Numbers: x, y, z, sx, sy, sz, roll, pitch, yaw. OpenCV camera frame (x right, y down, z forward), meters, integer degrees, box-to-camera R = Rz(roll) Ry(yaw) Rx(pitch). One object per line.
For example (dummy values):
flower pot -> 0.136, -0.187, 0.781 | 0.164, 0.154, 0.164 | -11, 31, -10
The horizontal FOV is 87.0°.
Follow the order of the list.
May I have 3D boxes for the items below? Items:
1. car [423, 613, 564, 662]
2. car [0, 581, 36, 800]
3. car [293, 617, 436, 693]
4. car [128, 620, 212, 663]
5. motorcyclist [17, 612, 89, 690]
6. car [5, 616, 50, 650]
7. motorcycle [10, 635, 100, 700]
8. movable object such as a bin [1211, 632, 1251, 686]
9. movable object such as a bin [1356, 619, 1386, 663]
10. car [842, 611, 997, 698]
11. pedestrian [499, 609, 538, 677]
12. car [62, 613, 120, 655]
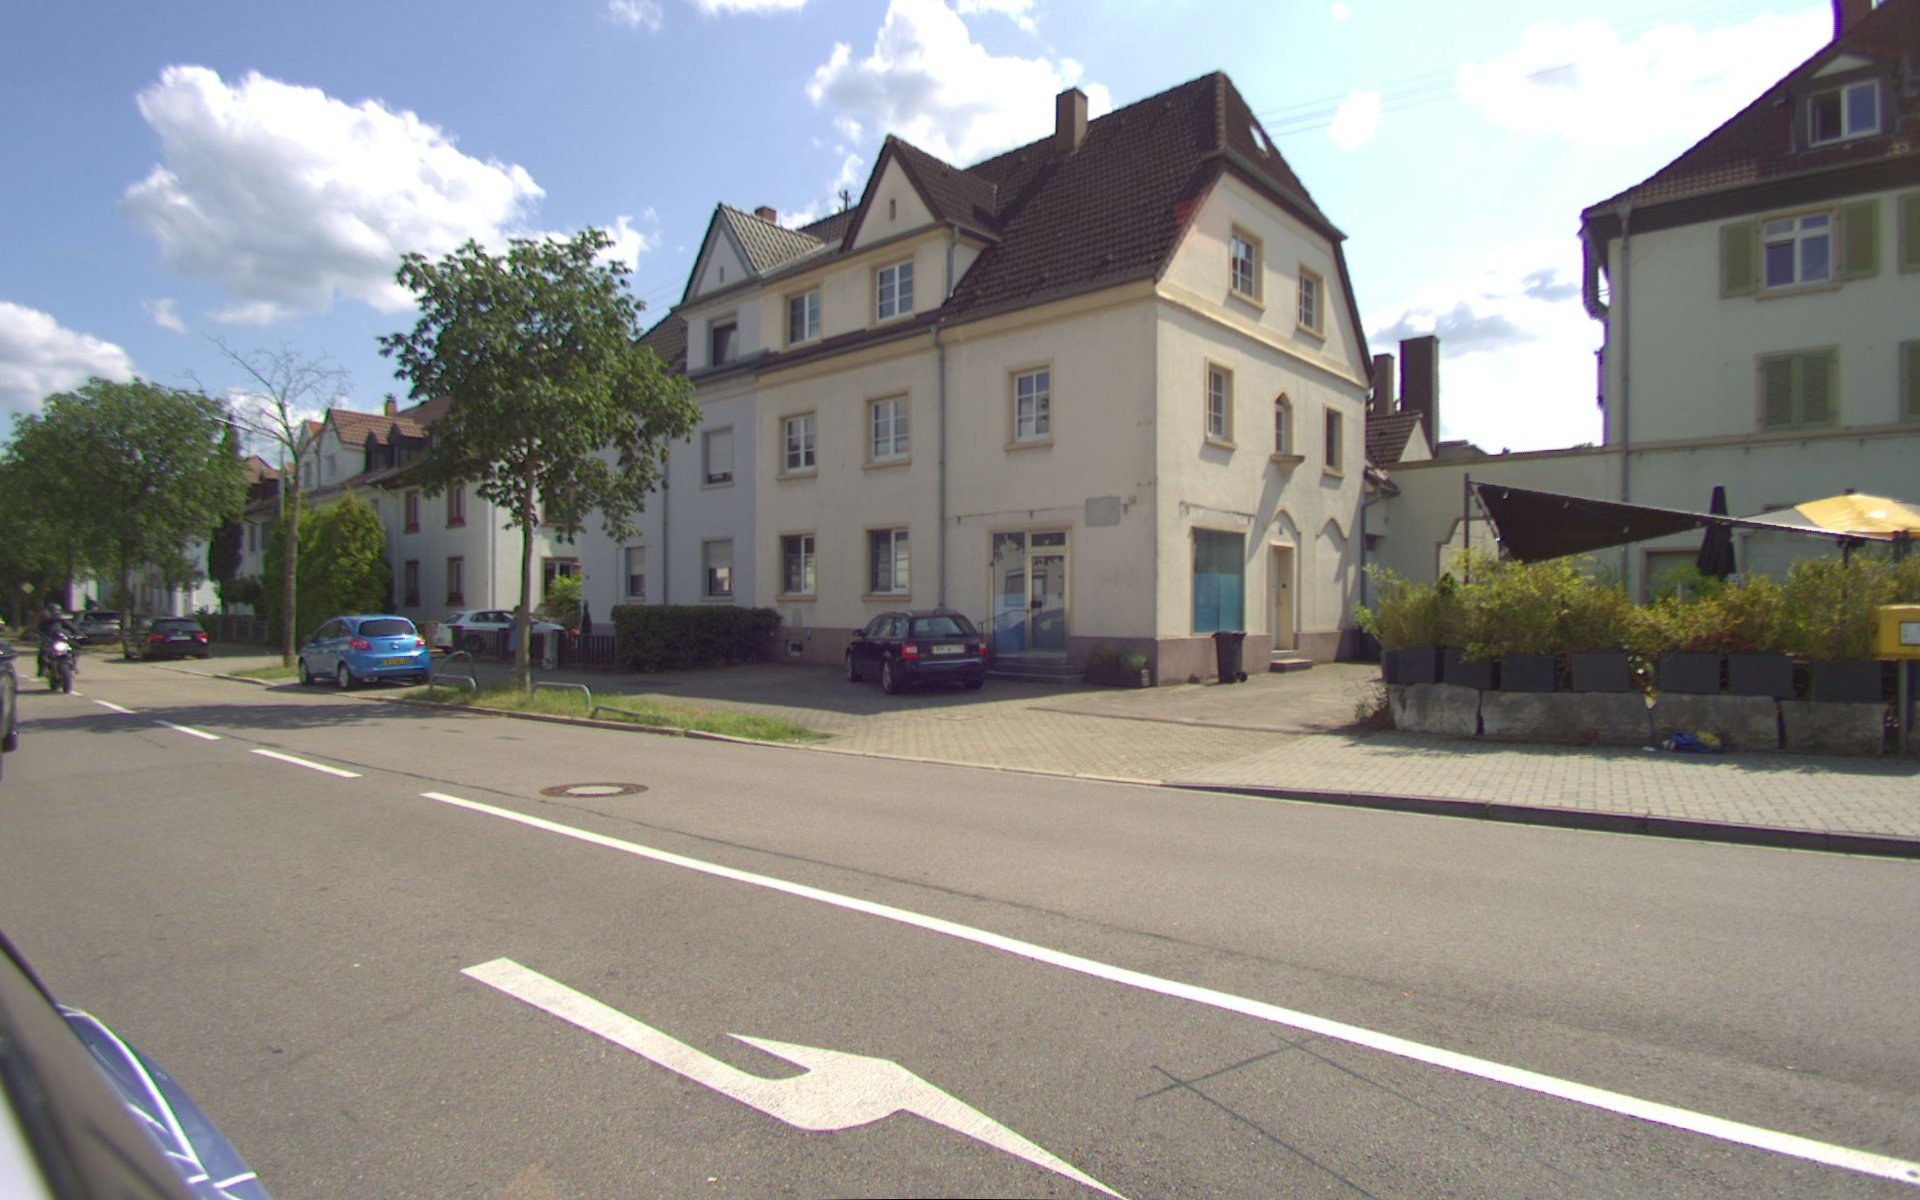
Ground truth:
car -> -14.854, 1.155, 32.346 | 1.711, 1.465, 3.753 | -1, -1, 44
car -> -10.048, 0.764, 9.338 | 4.873, 1.777, 1.753 | -1, -1, 42
car -> -12.524, 1.094, 21.225 | 3.153, 1.473, 1.687 | -1, -1, 41
car -> -25.848, 1.319, 33.078 | 3.919, 1.306, 1.686 | -1, -1, 45
motorcyclist -> -17.173, 0.964, 19.167 | 1.098, 1.409, 0.815 | -4, -2, 38
car -> -47.866, 1.686, 51.940 | 3.252, 1.667, 1.541 | -1, -2, 45
motorcycle -> -17.019, 1.234, 19.017 | 2.355, 1.136, 0.833 | -1, -1, 38
movable object such as a bin -> 5.107, 1.098, 19.041 | 0.510, 0.979, 0.607 | -1, -2, 41
movable object such as a bin -> 9.983, 0.988, 24.582 | 0.510, 1.053, 0.607 | -1, -2, 41
car -> -0.875, 0.913, 18.548 | 1.732, 1.397, 4.115 | 0, -1, -19
pedestrian -> -10.361, 0.999, 23.743 | 0.618, 1.547, 0.624 | -1, -1, 40
car -> -36.320, 1.409, 42.278 | 3.575, 1.667, 1.541 | -1, -2, 45
